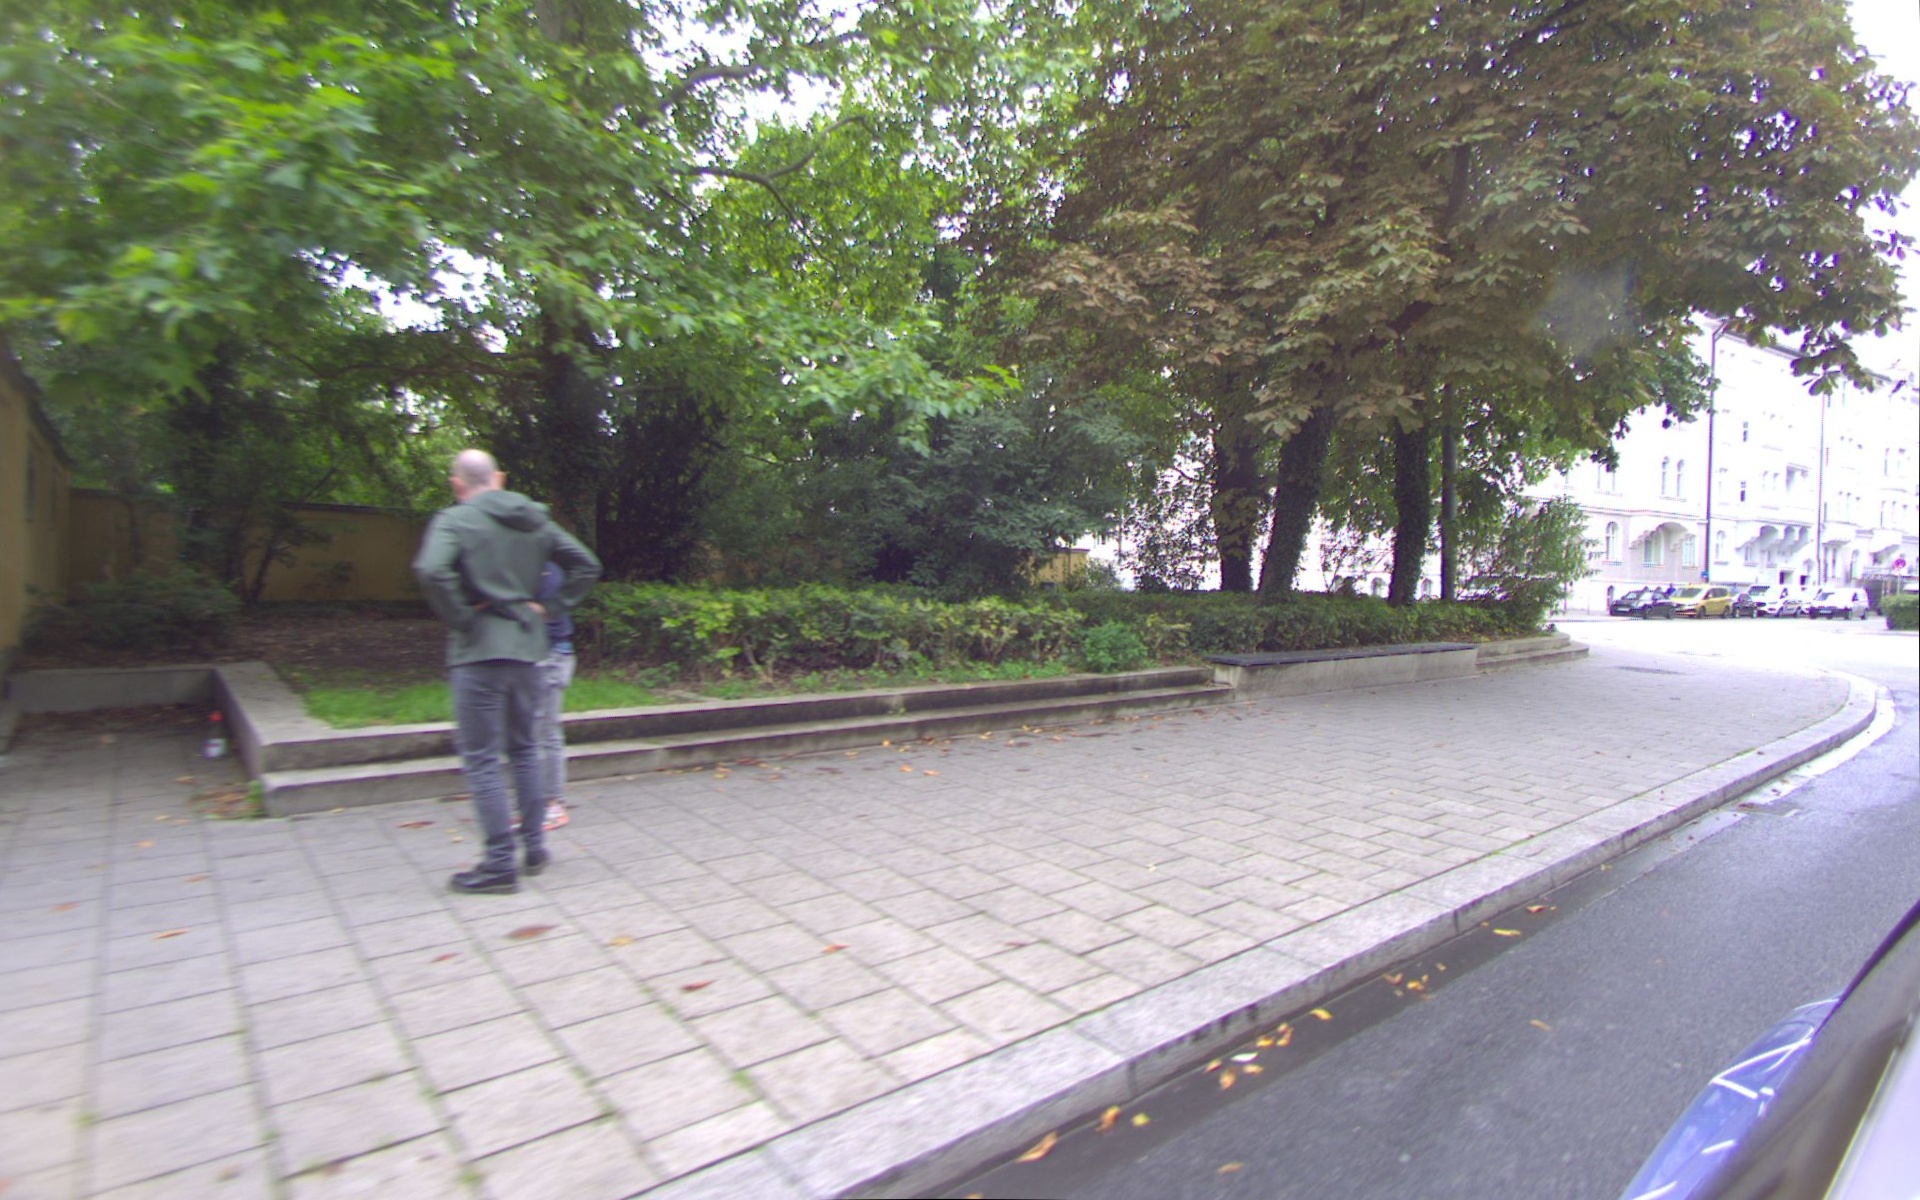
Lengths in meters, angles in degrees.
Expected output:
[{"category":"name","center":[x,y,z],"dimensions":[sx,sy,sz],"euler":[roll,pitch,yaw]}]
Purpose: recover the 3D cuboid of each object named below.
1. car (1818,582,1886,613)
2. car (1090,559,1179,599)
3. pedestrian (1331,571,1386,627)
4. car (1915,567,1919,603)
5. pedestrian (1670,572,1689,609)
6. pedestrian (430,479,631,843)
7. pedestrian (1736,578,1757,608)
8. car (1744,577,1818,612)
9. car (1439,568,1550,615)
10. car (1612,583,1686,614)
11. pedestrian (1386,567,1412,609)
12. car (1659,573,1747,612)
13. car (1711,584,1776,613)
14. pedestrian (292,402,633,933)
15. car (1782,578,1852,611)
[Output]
[{"category":"car","center":[50.869,-0.159,57.719],"dimensions":[4.515,1.678,1.921],"euler":[0,2,-36]},{"category":"car","center":[8.363,-1.028,48.827],"dimensions":[1.856,1.817,4.254],"euler":[0,2,-32]},{"category":"pedestrian","center":[10.077,-0.035,25.600],"dimensions":[1.109,1.373,0.772],"euler":[1,1,-31]},{"category":"car","center":[75.082,-1.089,77.609],"dimensions":[5.350,2.721,2.081],"euler":[0,3,-41]},{"category":"pedestrian","center":[40.617,-0.541,57.102],"dimensions":[0.713,2.039,0.586],"euler":[1,1,-30]},{"category":"pedestrian","center":[-2.167,0.268,5.140],"dimensions":[0.629,1.688,0.690],"euler":[2,1,28]},{"category":"pedestrian","center":[51.413,-0.466,66.152],"dimensions":[0.731,1.926,0.856],"euler":[1,1,-29]},{"category":"car","center":[48.674,-0.328,59.978],"dimensions":[4.791,1.942,2.002],"euler":[0,2,-33]},{"category":"car","center":[23.616,-0.371,44.642],"dimensions":[5.269,1.945,1.946],"euler":[0,2,-33]},{"category":"car","center":[34.949,-0.096,51.306],"dimensions":[3.752,1.463,1.719],"euler":[0,2,-32]},{"category":"pedestrian","center":[19.572,-0.551,45.155],"dimensions":[0.918,1.823,0.994],"euler":[1,1,18]},{"category":"car","center":[39.605,-0.402,53.917],"dimensions":[4.478,1.942,2.003],"euler":[0,2,-28]},{"category":"car","center":[44.069,-0.083,56.918],"dimensions":[3.808,1.533,1.640],"euler":[0,1,-32]},{"category":"pedestrian","center":[-1.991,0.217,4.135],"dimensions":[0.813,1.859,0.945],"euler":[2,1,23]},{"category":"car","center":[53.698,-0.325,63.385],"dimensions":[4.783,1.942,2.002],"euler":[0,2,-33]}]
